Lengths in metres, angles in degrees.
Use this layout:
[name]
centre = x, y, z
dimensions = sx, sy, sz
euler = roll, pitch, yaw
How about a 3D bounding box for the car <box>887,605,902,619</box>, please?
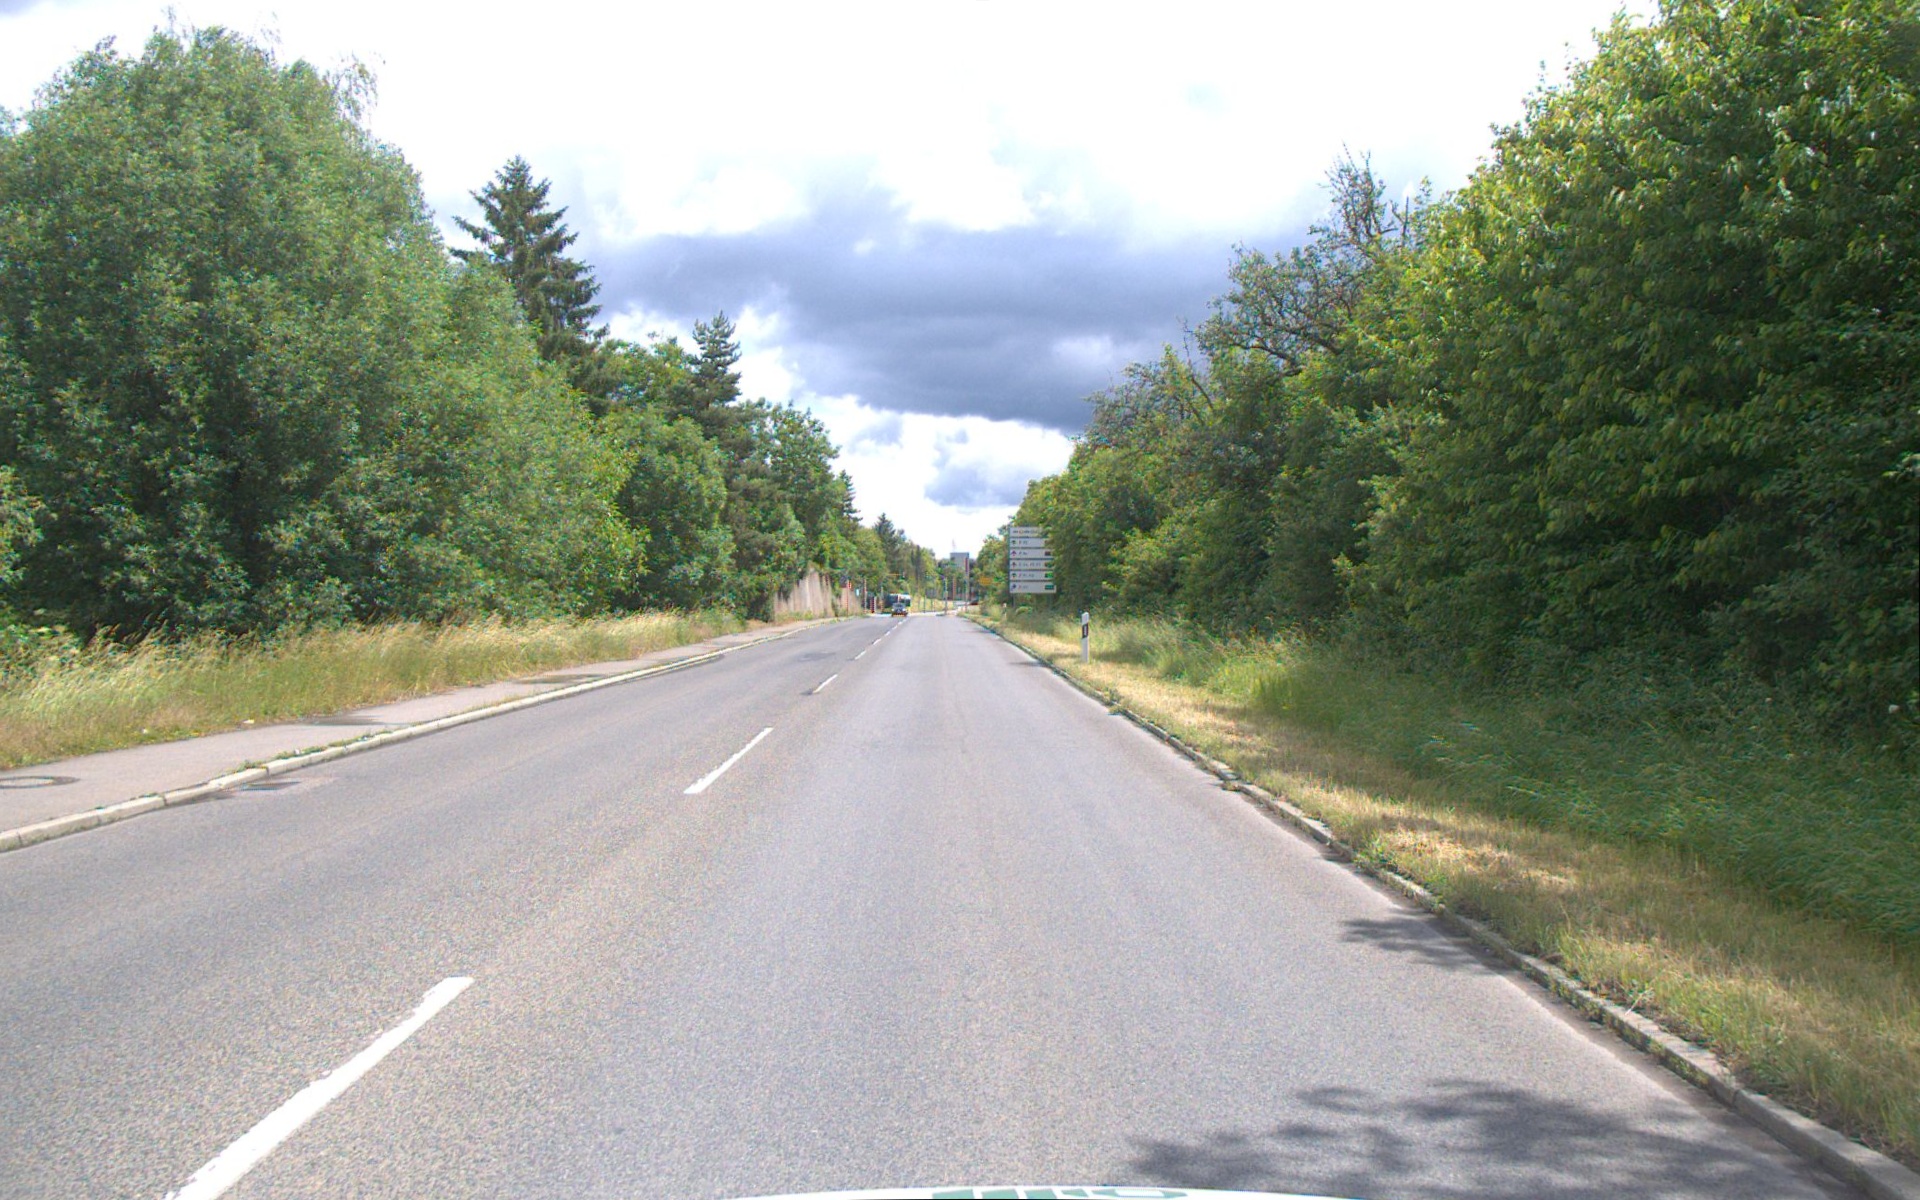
[car]
centre = -7.528, 1.370, 190.455
dimensions = 1.716, 1.489, 3.999
euler = -1, 0, -1
